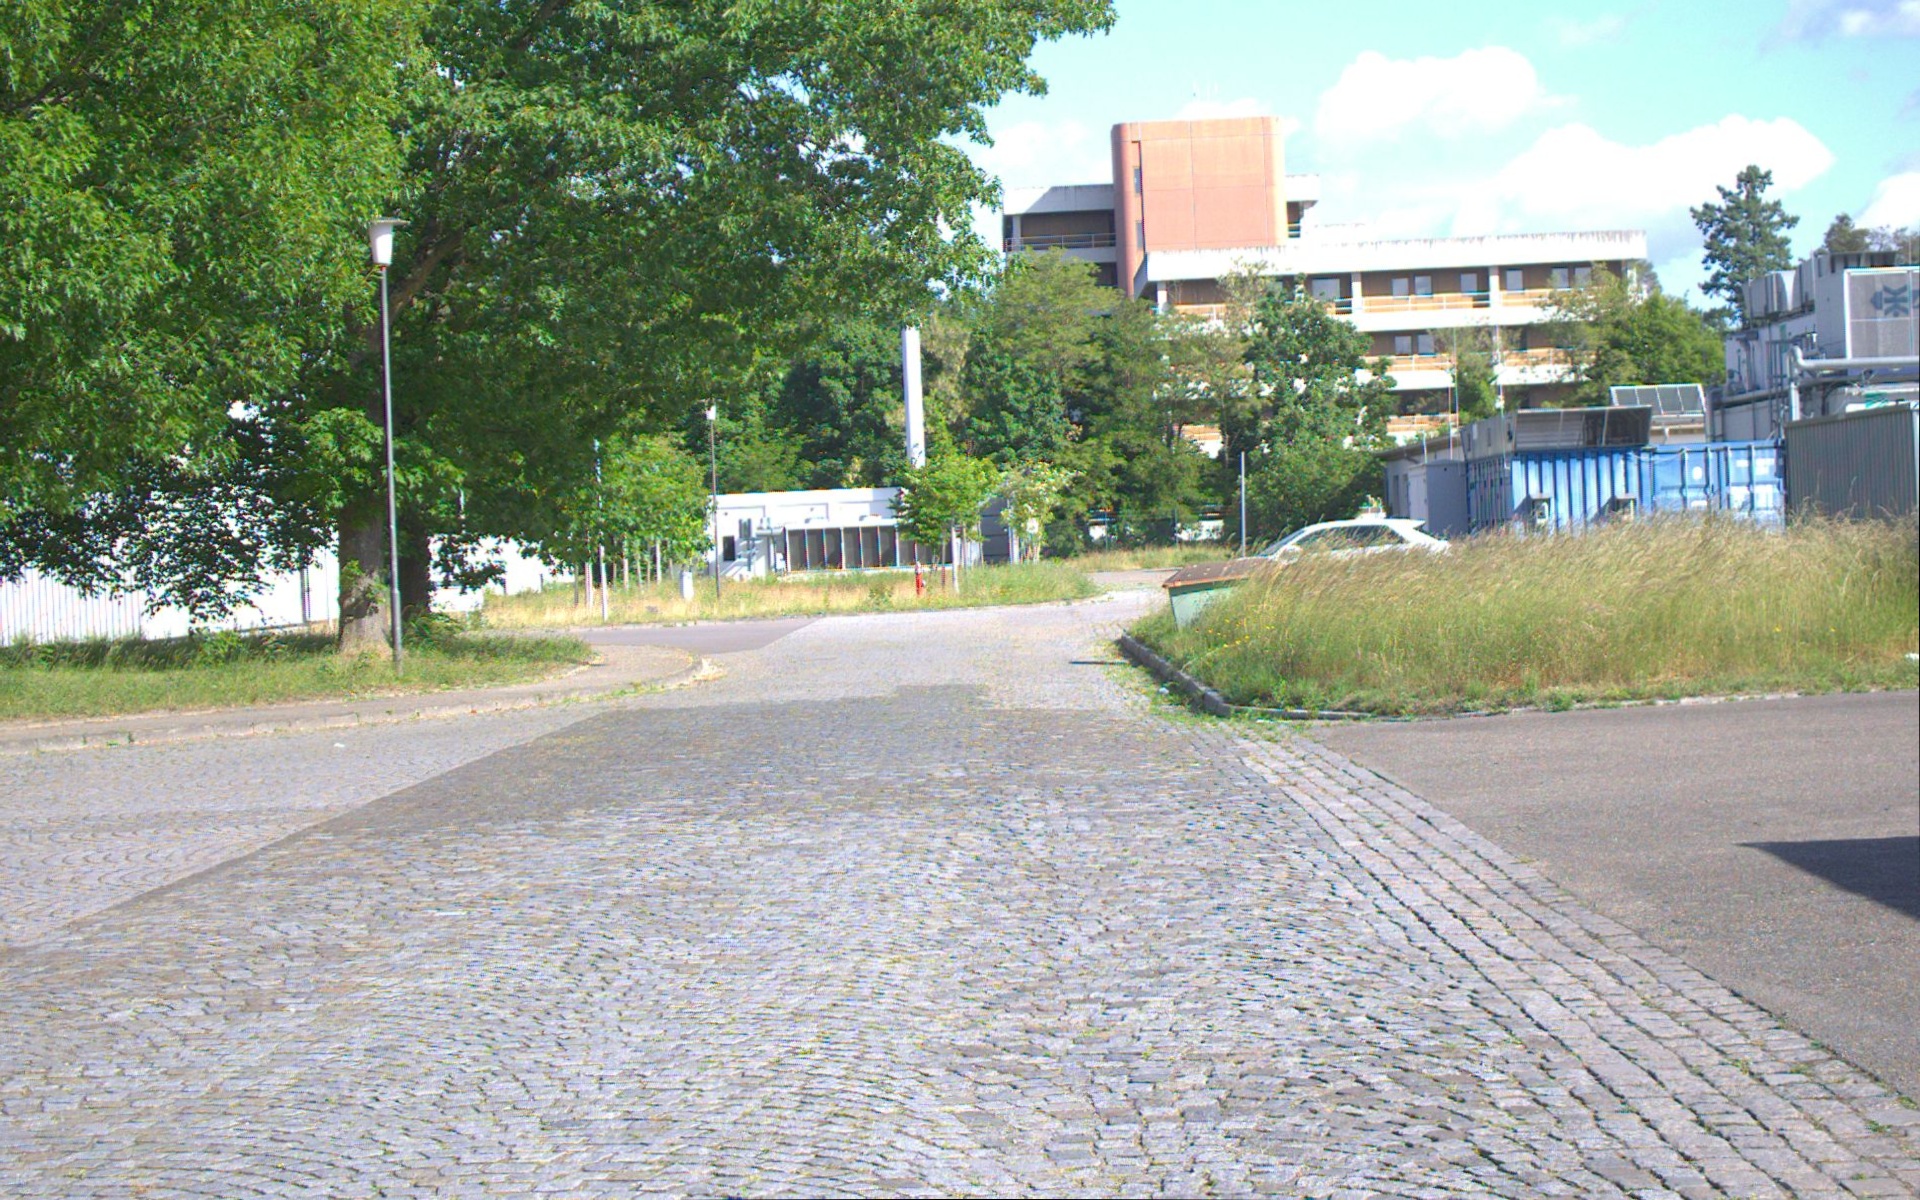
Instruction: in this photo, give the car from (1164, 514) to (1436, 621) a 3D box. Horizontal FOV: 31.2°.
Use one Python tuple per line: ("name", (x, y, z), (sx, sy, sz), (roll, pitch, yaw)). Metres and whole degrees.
("car", (5.991, -0.580, 61.018), (4.588, 1.672, 1.875), (-2, 1, 0))
